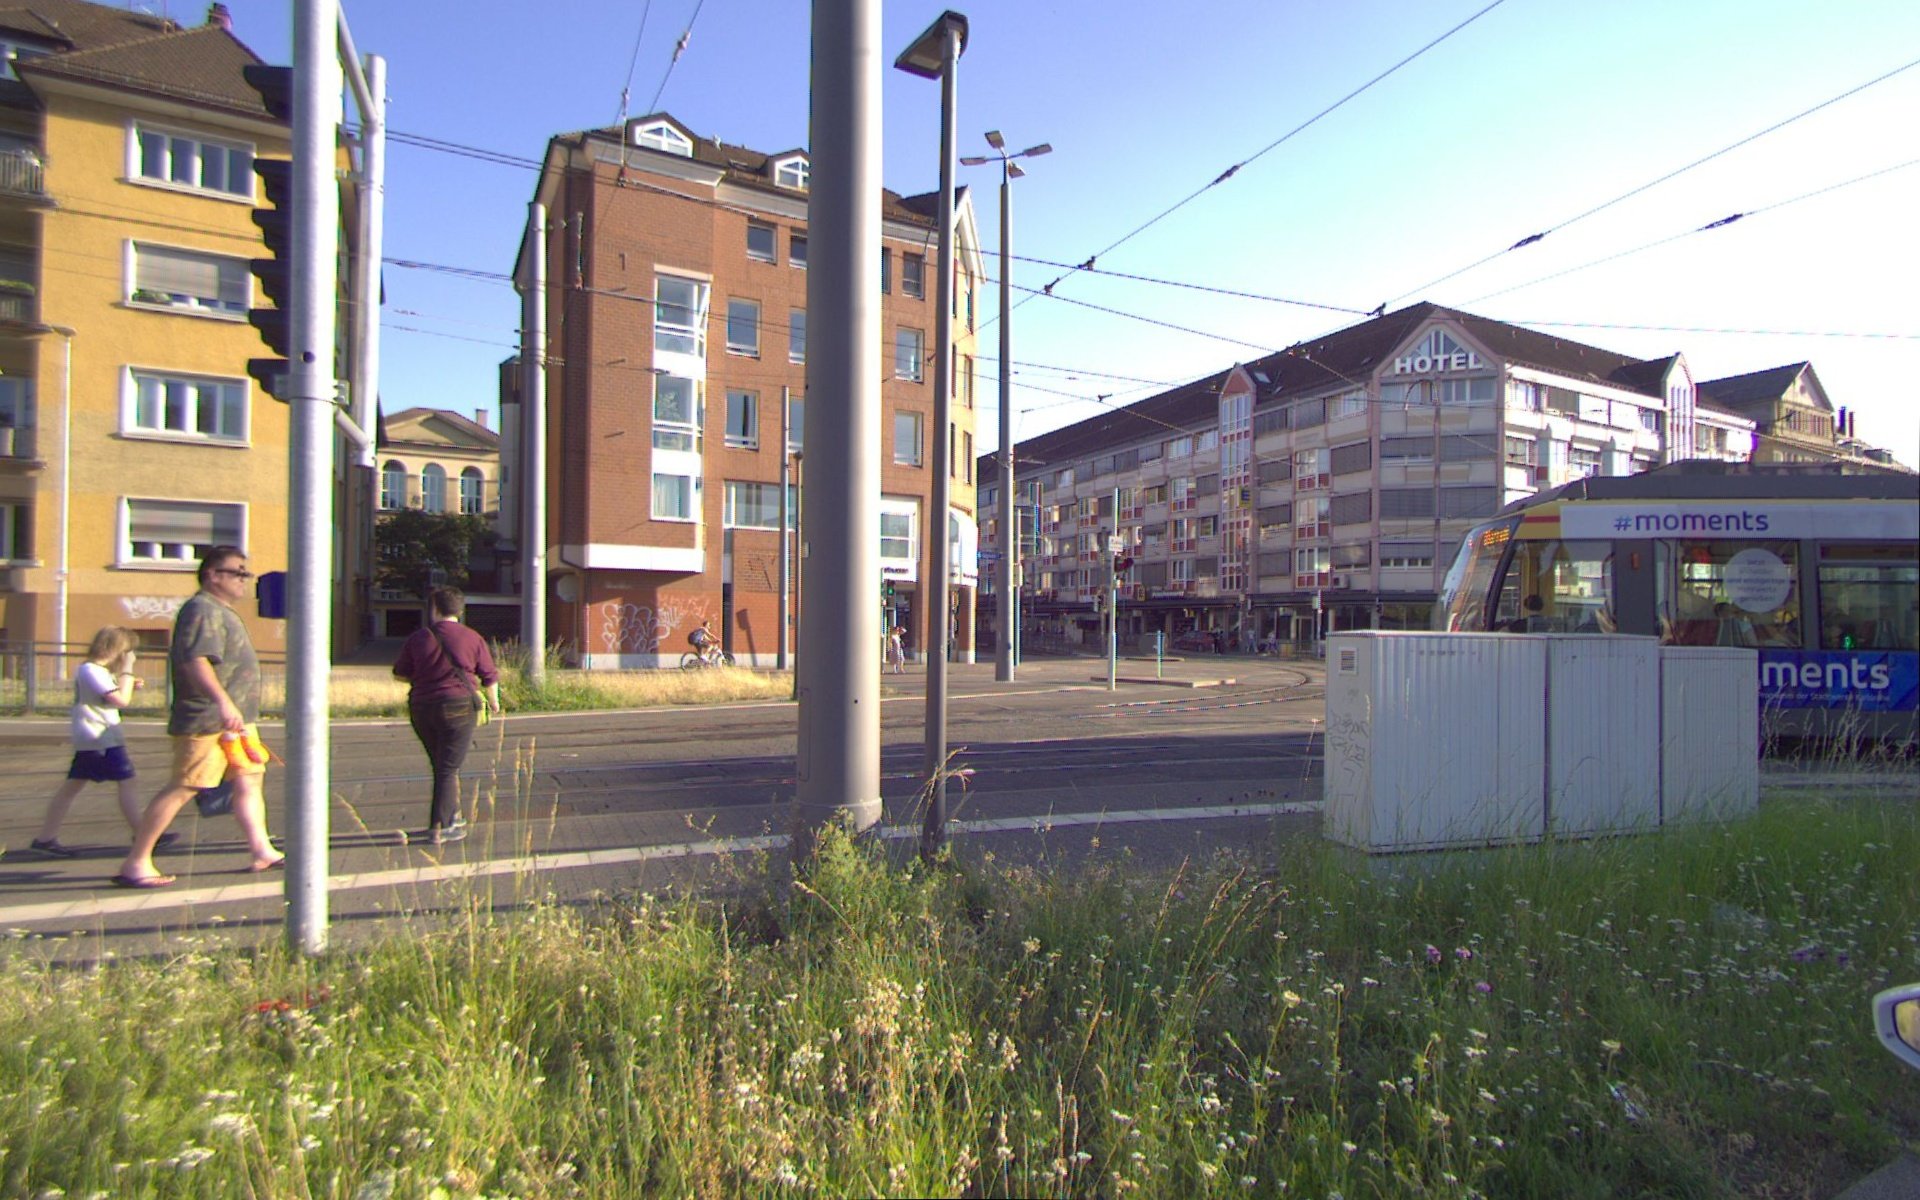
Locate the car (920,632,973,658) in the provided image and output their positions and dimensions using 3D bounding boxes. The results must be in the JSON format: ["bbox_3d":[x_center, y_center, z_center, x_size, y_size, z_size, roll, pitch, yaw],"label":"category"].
[{"bbox_3d":[-0.830,2.571,57.528,1.725,1.261,3.916,2,0,-22],"label":"car"}]

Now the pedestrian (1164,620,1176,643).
[{"bbox_3d":[16.027,2.403,76.535,0.604,1.655,0.598,4,-8,-34],"label":"pedestrian"}]

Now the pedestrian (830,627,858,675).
[{"bbox_3d":[-3.986,1.746,34.570,0.828,1.605,0.681,2,0,-16],"label":"pedestrian"}]

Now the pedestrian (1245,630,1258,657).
[{"bbox_3d":[19.206,2.856,66.151,0.612,1.717,0.866,2,0,29],"label":"pedestrian"}]

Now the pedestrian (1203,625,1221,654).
[{"bbox_3d":[14.792,2.324,58.974,0.773,1.682,0.677,2,0,-35],"label":"pedestrian"}]

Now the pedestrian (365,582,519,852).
[{"bbox_3d":[-3.280,0.708,6.420,0.777,1.609,0.605,2,0,-22],"label":"pedestrian"}]

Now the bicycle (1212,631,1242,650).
[{"bbox_3d":[18.467,2.784,69.589,0.720,1.243,2.319,2,-2,-24],"label":"bicycle"}]

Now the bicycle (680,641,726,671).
[{"bbox_3d":[-8.344,1.818,32.620,1.351,0.929,0.430,2,0,-34],"label":"bicycle"}]

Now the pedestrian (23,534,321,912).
[{"bbox_3d":[-3.998,0.594,5.176,0.883,1.781,0.776,2,0,-4],"label":"pedestrian"}]

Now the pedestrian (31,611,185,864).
[{"bbox_3d":[-5.014,0.769,5.947,0.602,1.378,0.591,2,0,-34],"label":"pedestrian"}]

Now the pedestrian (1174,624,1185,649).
[{"bbox_3d":[16.693,2.747,76.427,0.601,1.877,0.601,2,0,-20],"label":"pedestrian"}]

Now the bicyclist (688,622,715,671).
[{"bbox_3d":[-8.396,1.498,32.588,0.722,1.564,0.430,2,0,-34],"label":"bicyclist"}]

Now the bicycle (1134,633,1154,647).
[{"bbox_3d":[14.640,3.177,79.844,1.630,1.134,0.480,2,0,-30],"label":"bicycle"}]

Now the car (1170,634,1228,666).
[{"bbox_3d":[15.344,3.170,64.596,1.776,1.840,3.673,2,0,-23],"label":"car"}]

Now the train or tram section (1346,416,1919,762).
[{"bbox_3d":[12.290,-0.056,13.009,13.090,3.884,3.718,1,-1,6],"label":"train or tram section"}]

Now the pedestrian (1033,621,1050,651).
[{"bbox_3d":[4.764,2.101,58.882,0.769,1.682,0.680,2,0,-20],"label":"pedestrian"}]

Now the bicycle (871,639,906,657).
[{"bbox_3d":[-3.906,2.617,55.024,1.813,0.974,0.540,1,1,-27],"label":"bicycle"}]

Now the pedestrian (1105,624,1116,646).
[{"bbox_3d":[12.577,2.881,83.840,0.804,1.802,0.680,2,0,0],"label":"pedestrian"}]

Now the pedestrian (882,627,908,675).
[{"bbox_3d":[-2.247,1.755,34.831,0.826,1.605,0.683,2,0,-7],"label":"pedestrian"}]

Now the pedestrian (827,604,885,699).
[{"bbox_3d":[-2.012,0.979,19.445,0.824,1.781,0.687,2,0,-44],"label":"pedestrian"}]
